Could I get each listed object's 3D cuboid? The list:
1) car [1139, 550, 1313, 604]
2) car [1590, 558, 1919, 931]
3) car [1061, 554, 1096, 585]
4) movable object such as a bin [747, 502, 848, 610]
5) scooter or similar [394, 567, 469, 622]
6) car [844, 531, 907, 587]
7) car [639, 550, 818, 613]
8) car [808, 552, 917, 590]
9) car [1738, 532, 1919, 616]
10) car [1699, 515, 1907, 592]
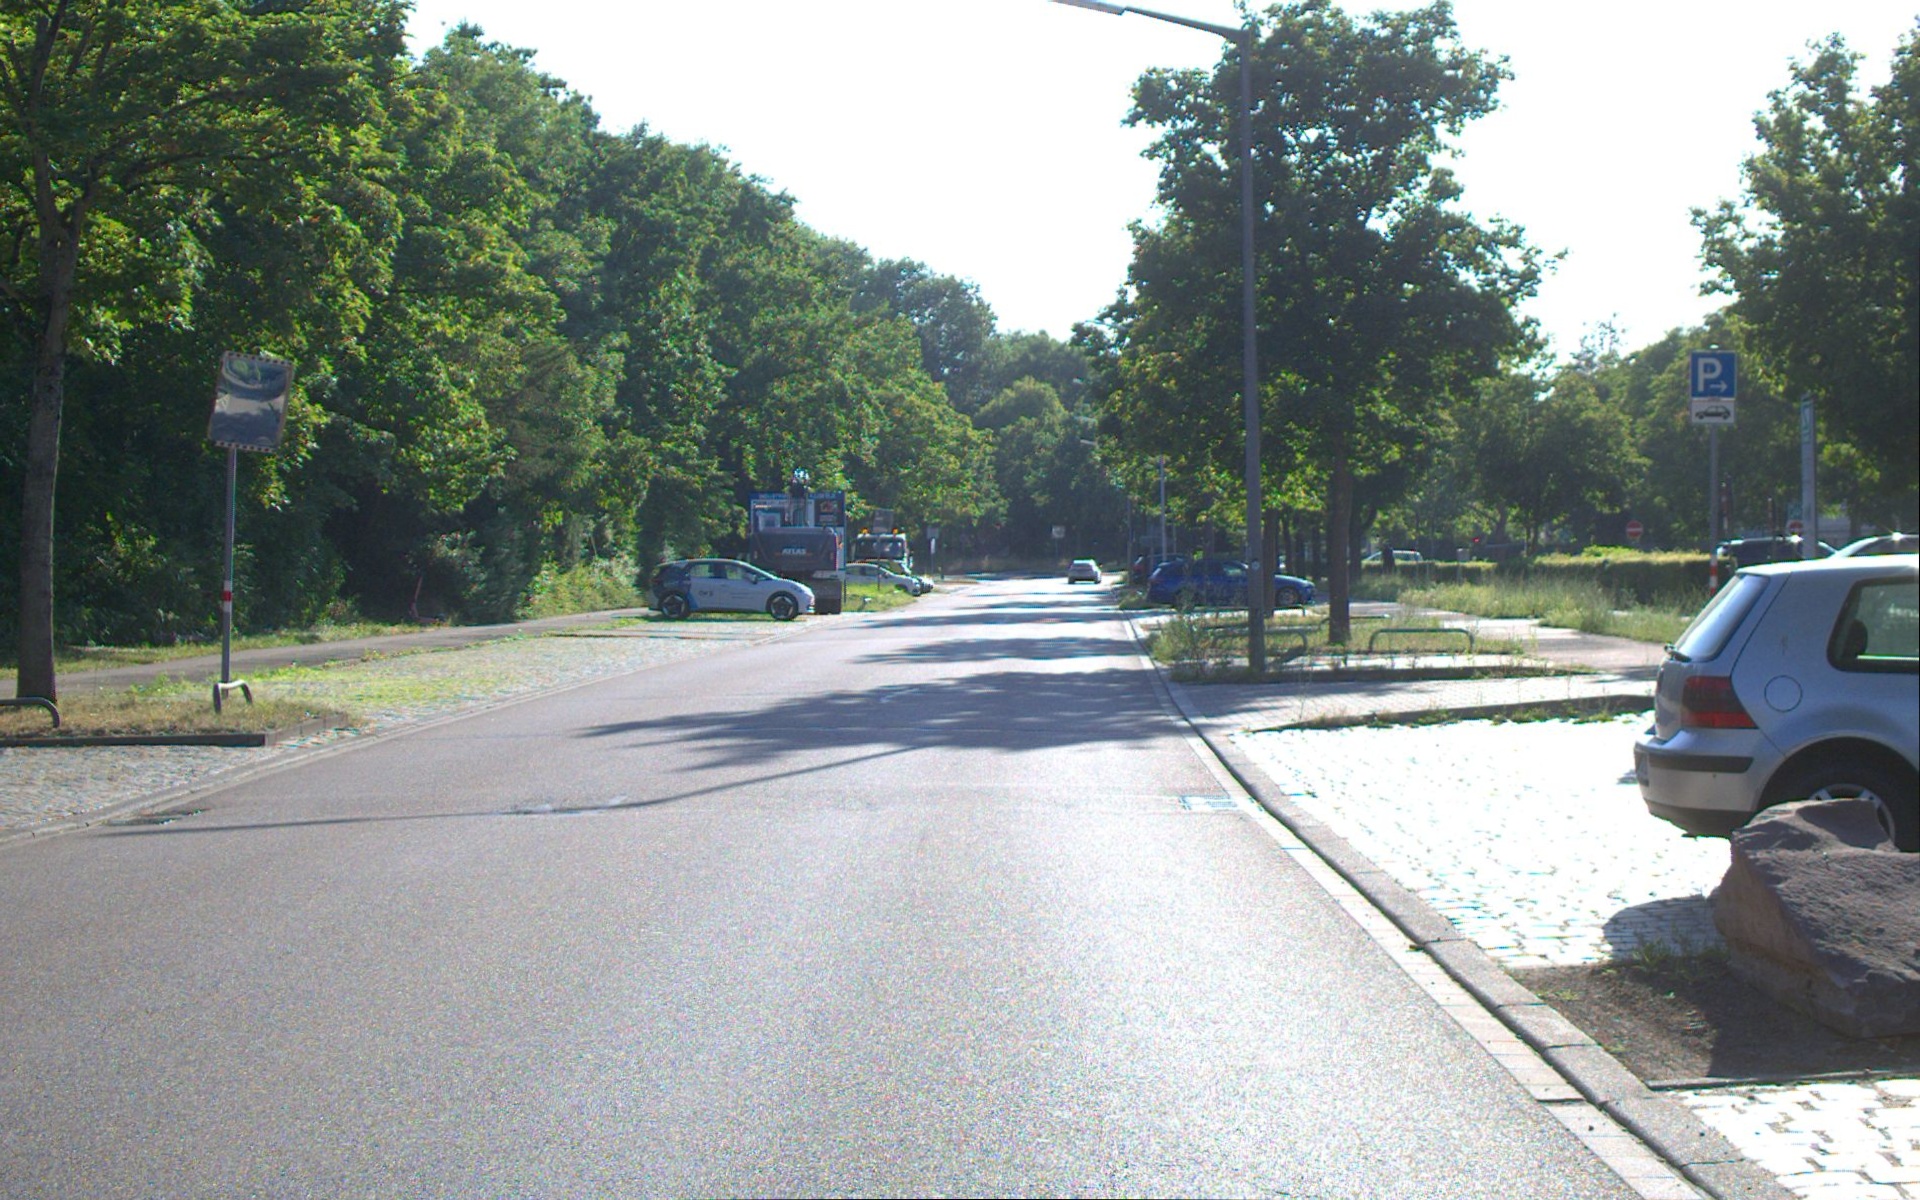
[{"bbox_3d":[7.482,-0.652,97.011,4.842,1.474,2.000,-1,1,3],"label":"car"},{"bbox_3d":[4.983,0.523,14.802,4.360,1.474,1.999,-2,0,9],"label":"car"},{"bbox_3d":[7.313,-1.908,212.659,1.993,1.897,4.000,-1,1,0],"label":"car"},{"bbox_3d":[-4.738,-1.295,100.848,2.838,3.058,4.927,-1,1,-2],"label":"movable object such as a bin"},{"bbox_3d":[-11.314,-0.124,73.632,0.577,1.141,1.581,0,1,42],"label":"scooter or similar"},{"bbox_3d":[-3.721,-1.797,150.656,2.516,2.378,4.374,-1,1,-5],"label":"car"},{"bbox_3d":[-5.910,-0.478,88.224,4.359,1.542,2.000,-1,1,3],"label":"car"},{"bbox_3d":[-4.014,-1.191,141.099,4.358,1.474,2.000,-1,1,-4],"label":"car"},{"bbox_3d":[18.658,-0.555,71.593,4.429,1.700,2.059,-1,1,1],"label":"car"},{"bbox_3d":[19.378,-1.087,79.155,4.359,1.700,2.000,-1,1,4],"label":"car"}]
